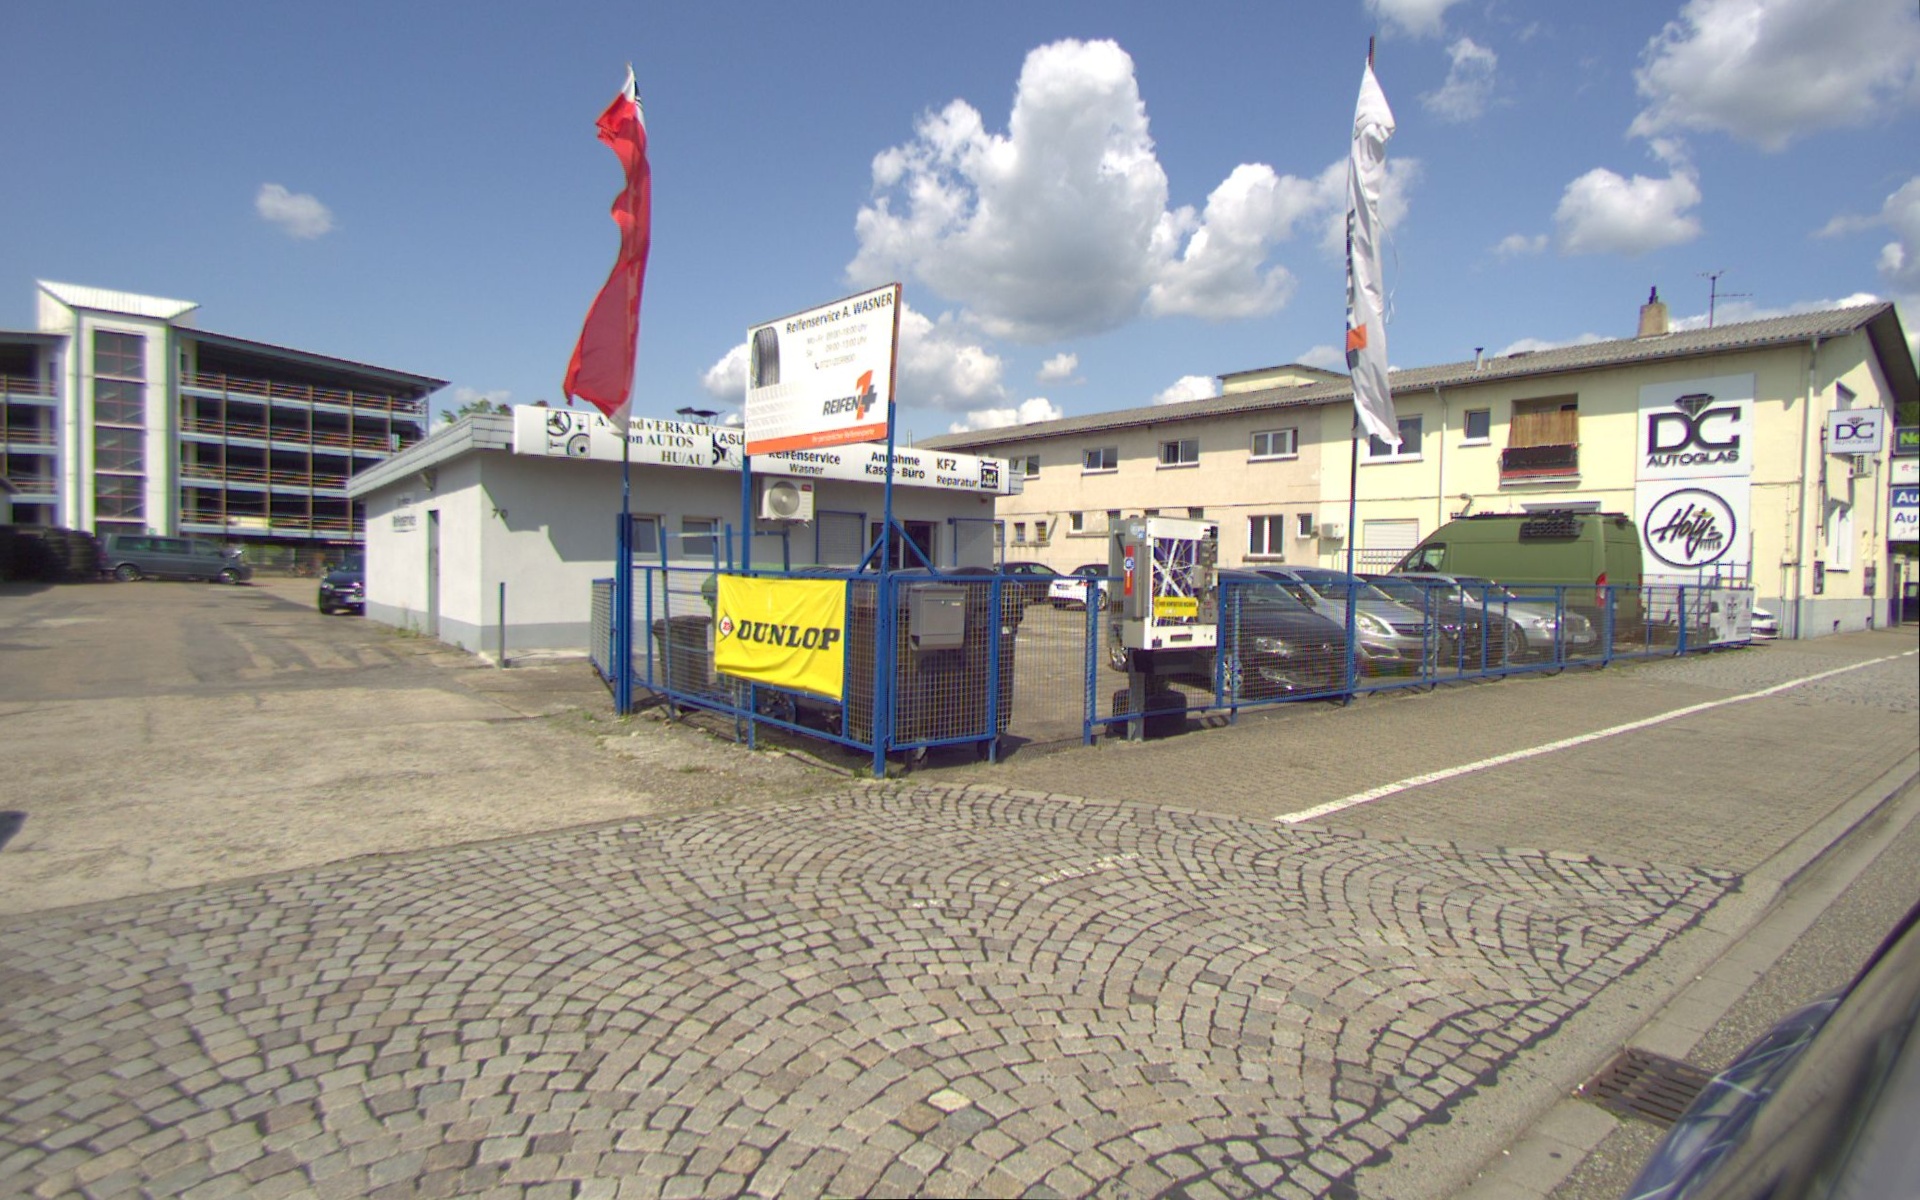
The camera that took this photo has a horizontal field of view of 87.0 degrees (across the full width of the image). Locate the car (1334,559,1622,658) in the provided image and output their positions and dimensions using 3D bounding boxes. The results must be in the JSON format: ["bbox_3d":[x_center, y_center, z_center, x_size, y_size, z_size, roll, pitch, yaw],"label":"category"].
[{"bbox_3d":[9.049,0.104,18.059,1.791,1.526,4.266,-1,1,-31],"label":"car"}]

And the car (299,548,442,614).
[{"bbox_3d":[-13.415,-0.424,23.261,1.605,1.370,3.679,0,1,-9],"label":"car"}]

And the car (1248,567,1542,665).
[{"bbox_3d":[7.014,0.179,16.763,1.707,1.391,4.266,-1,2,-32],"label":"car"}]

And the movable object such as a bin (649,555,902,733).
[{"bbox_3d":[-1.690,0.331,9.249,1.735,1.427,1.534,-1,1,-40],"label":"movable object such as a bin"}]

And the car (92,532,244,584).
[{"bbox_3d":[-33.228,-1.738,42.558,4.866,2.039,1.967,-2,1,-44],"label":"car"}]

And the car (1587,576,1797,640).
[{"bbox_3d":[17.139,0.153,23.851,1.490,1.375,3.728,-1,1,-36],"label":"car"}]

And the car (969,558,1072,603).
[{"bbox_3d":[2.018,-0.644,33.360,3.268,1.396,1.425,-2,1,-39],"label":"car"}]

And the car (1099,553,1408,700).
[{"bbox_3d":[3.455,0.188,12.711,1.592,1.480,3.919,-1,4,-23],"label":"car"}]

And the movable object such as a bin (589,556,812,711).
[{"bbox_3d":[-2.688,0.286,10.467,1.735,1.427,1.534,-1,1,-40],"label":"movable object such as a bin"}]

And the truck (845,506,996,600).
[{"bbox_3d":[-1.330,-1.642,35.420,4.999,3.045,2.158,-1,4,-41],"label":"truck"}]

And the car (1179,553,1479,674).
[{"bbox_3d":[5.294,0.141,15.171,1.789,1.524,4.271,-1,1,-23],"label":"car"}]

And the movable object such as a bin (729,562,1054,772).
[{"bbox_3d":[-0.566,0.415,7.866,1.678,1.364,1.966,-1,1,-40],"label":"movable object such as a bin"}]

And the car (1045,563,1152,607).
[{"bbox_3d":[4.282,-0.469,31.113,3.218,1.277,1.452,-2,1,-39],"label":"car"}]

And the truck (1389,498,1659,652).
[{"bbox_3d":[11.033,-0.467,20.036,2.070,2.694,4.181,-1,1,-38],"label":"truck"}]
